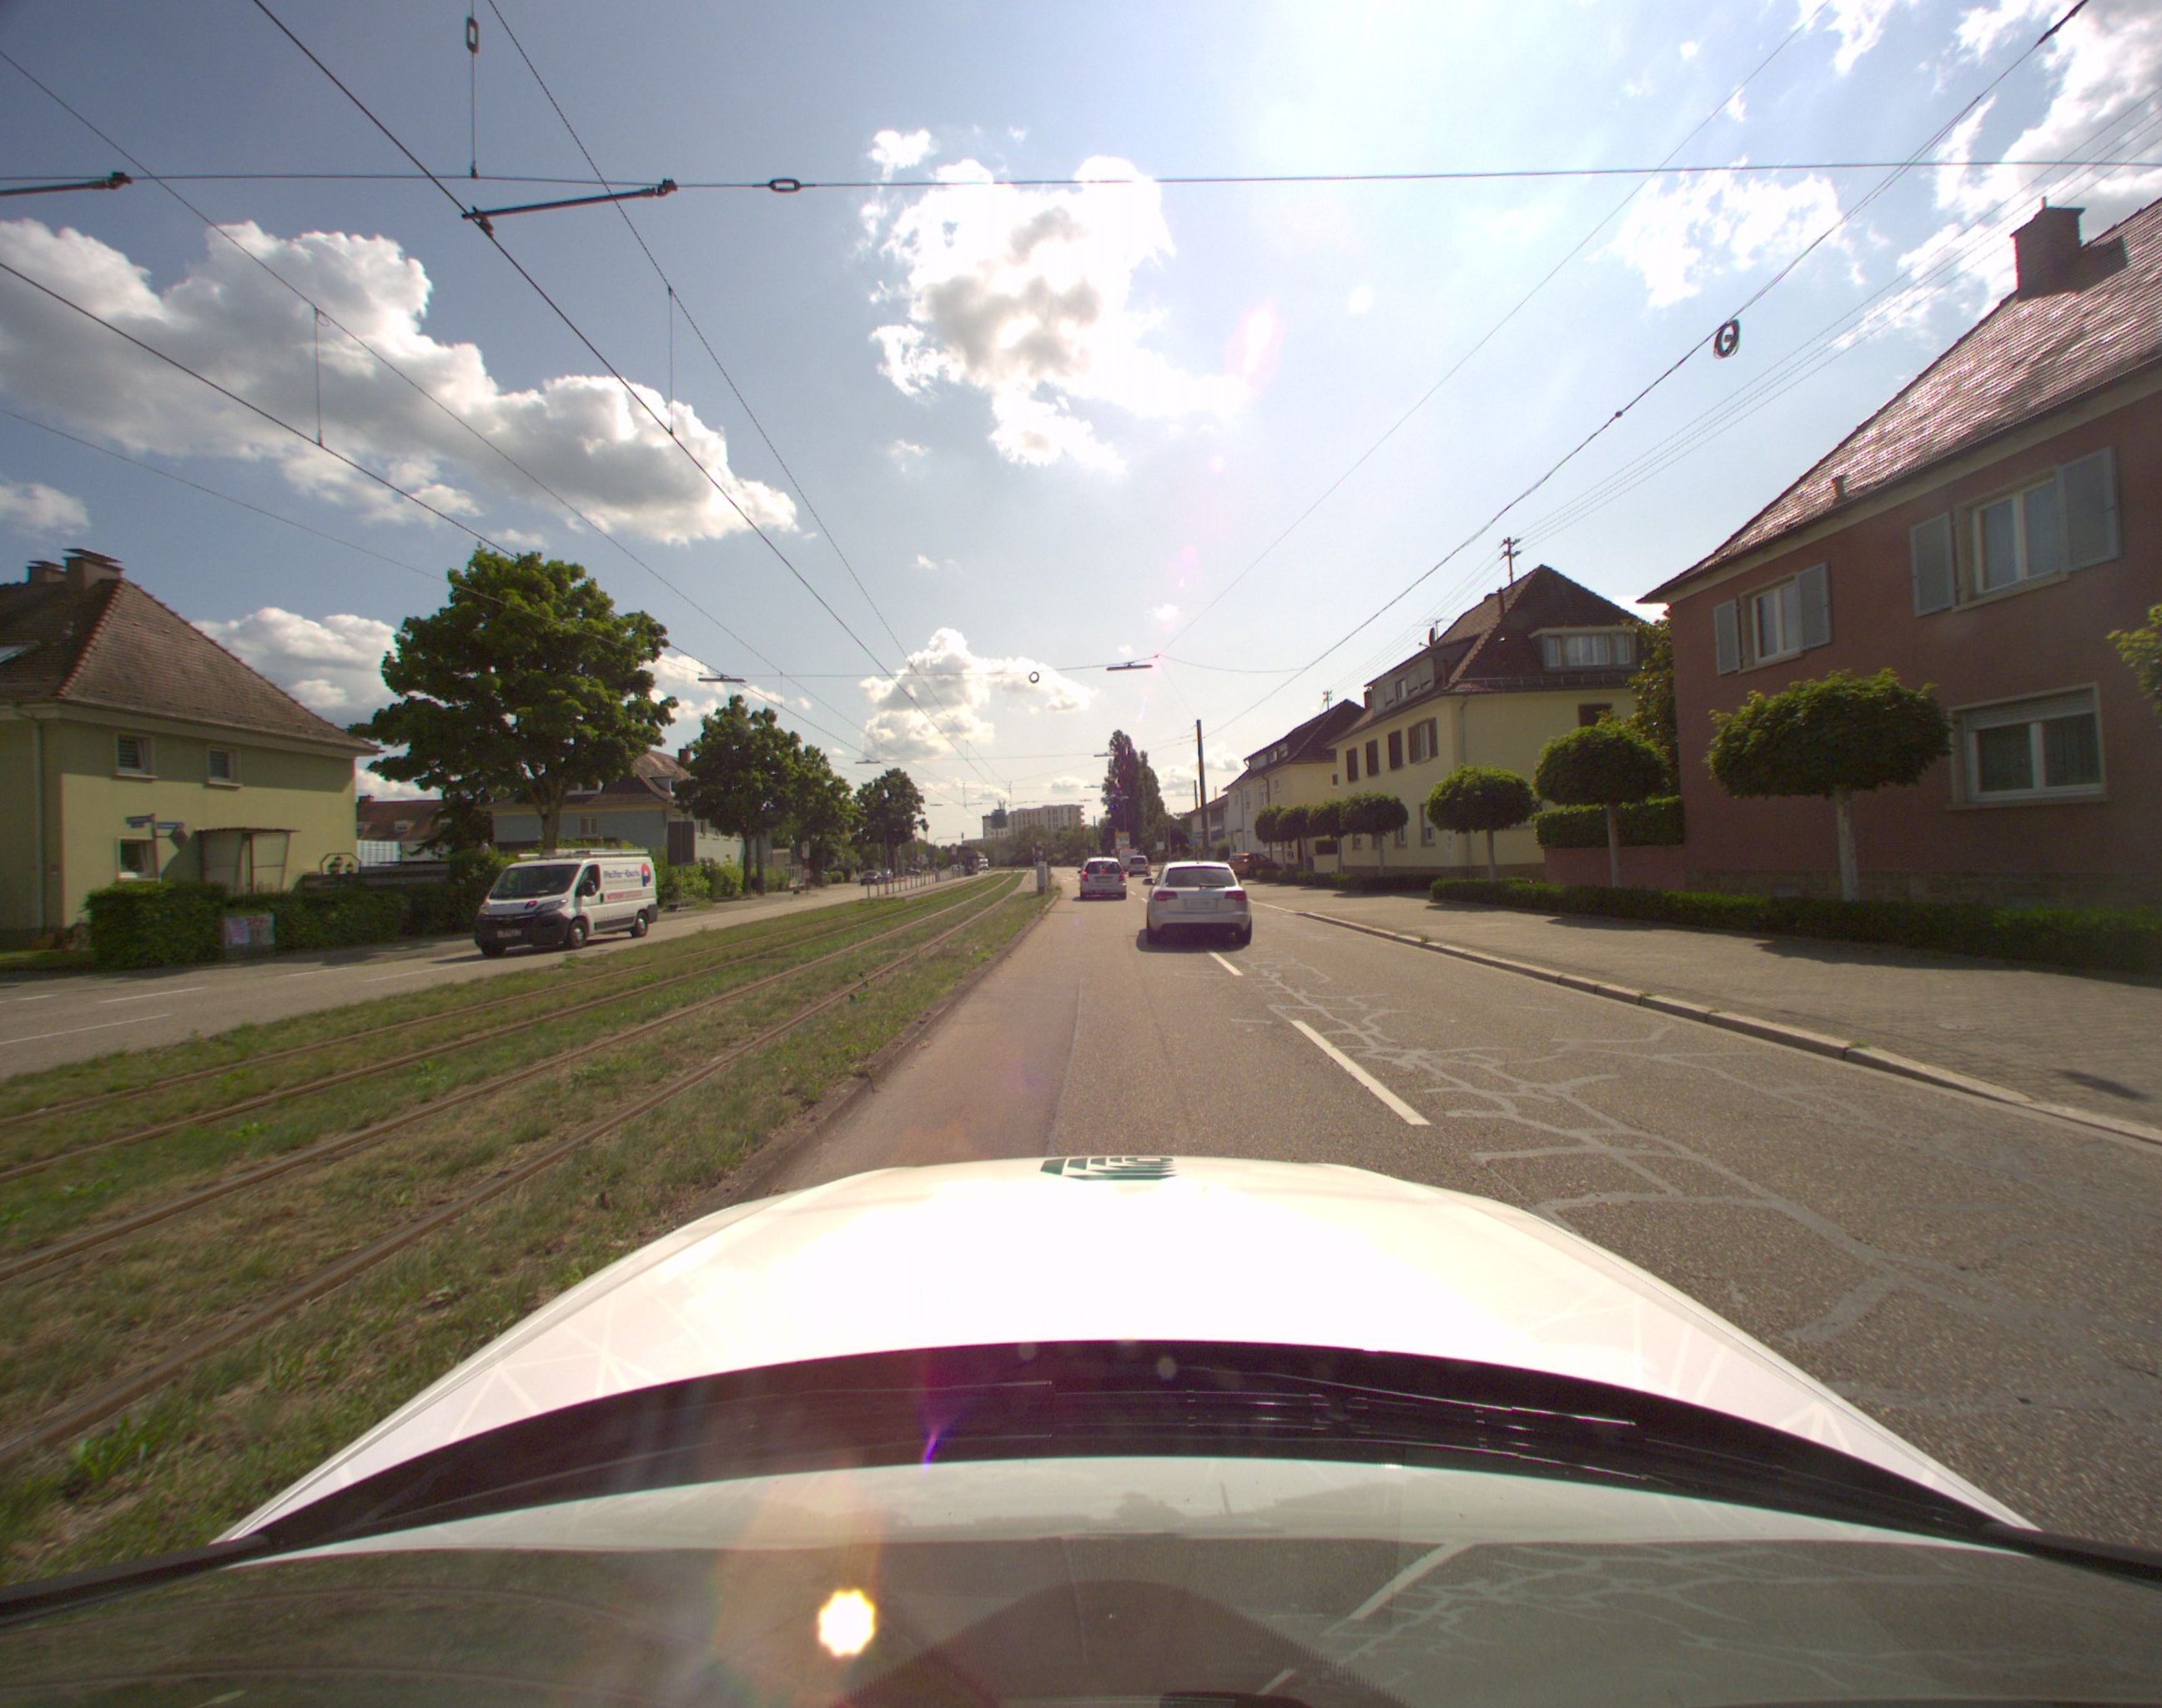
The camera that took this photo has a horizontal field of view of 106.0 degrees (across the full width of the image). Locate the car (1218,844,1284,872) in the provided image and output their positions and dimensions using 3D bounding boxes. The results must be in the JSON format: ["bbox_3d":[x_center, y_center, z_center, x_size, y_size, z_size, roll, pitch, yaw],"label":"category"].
[{"bbox_3d":[10.501,0.226,50.181,4.117,1.458,1.892,-4,2,-44],"label":"car"}]

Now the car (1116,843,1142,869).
[{"bbox_3d":[5.060,0.217,86.914,2.037,2.557,5.224,-2,0,-4],"label":"car"}]

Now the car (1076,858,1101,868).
[{"bbox_3d":[1.287,1.592,143.920,4.339,1.739,1.999,0,-1,-1],"label":"car"}]

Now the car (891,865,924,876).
[{"bbox_3d":[-28.259,2.708,132.537,4.847,1.660,1.999,-1,-1,-1],"label":"car"}]

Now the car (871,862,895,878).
[{"bbox_3d":[-21.727,1.691,89.485,2.059,1.614,4.739,-3,0,-9],"label":"car"}]

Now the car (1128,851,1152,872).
[{"bbox_3d":[5.181,0.637,71.010,1.876,1.731,4.100,-3,0,5],"label":"car"}]

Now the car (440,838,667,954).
[{"bbox_3d":[-12.722,0.923,20.229,2.191,2.372,5.328,-4,0,-2],"label":"car"}]

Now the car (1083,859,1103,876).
[{"bbox_3d":[1.101,1.246,76.520,1.879,1.530,4.094,-1,-1,0],"label":"car"}]

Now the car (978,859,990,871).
[{"bbox_3d":[-20.878,2.357,175.606,1.995,2.606,4.857,-1,-1,-12],"label":"car"}]

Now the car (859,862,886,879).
[{"bbox_3d":[-21.292,1.680,83.273,1.781,1.584,3.928,-2,0,-1],"label":"car"}]

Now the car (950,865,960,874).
[{"bbox_3d":[-25.376,3.066,163.508,1.861,1.651,3.990,-1,-1,-7],"label":"car"}]

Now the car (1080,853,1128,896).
[{"bbox_3d":[0.845,0.753,31.845,1.781,1.577,4.093,0,0,0],"label":"car"}]

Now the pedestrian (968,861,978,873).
[{"bbox_3d":[-13.228,1.610,99.789,1.056,1.376,0.859,-1,-1,-4],"label":"pedestrian"}]

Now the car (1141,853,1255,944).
[{"bbox_3d":[2.135,0.757,15.959,1.846,1.492,4.540,-1,0,4],"label":"car"}]

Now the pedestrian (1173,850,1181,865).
[{"bbox_3d":[11.449,0.392,96.923,0.719,1.782,0.702,-5,0,-1],"label":"pedestrian"}]
